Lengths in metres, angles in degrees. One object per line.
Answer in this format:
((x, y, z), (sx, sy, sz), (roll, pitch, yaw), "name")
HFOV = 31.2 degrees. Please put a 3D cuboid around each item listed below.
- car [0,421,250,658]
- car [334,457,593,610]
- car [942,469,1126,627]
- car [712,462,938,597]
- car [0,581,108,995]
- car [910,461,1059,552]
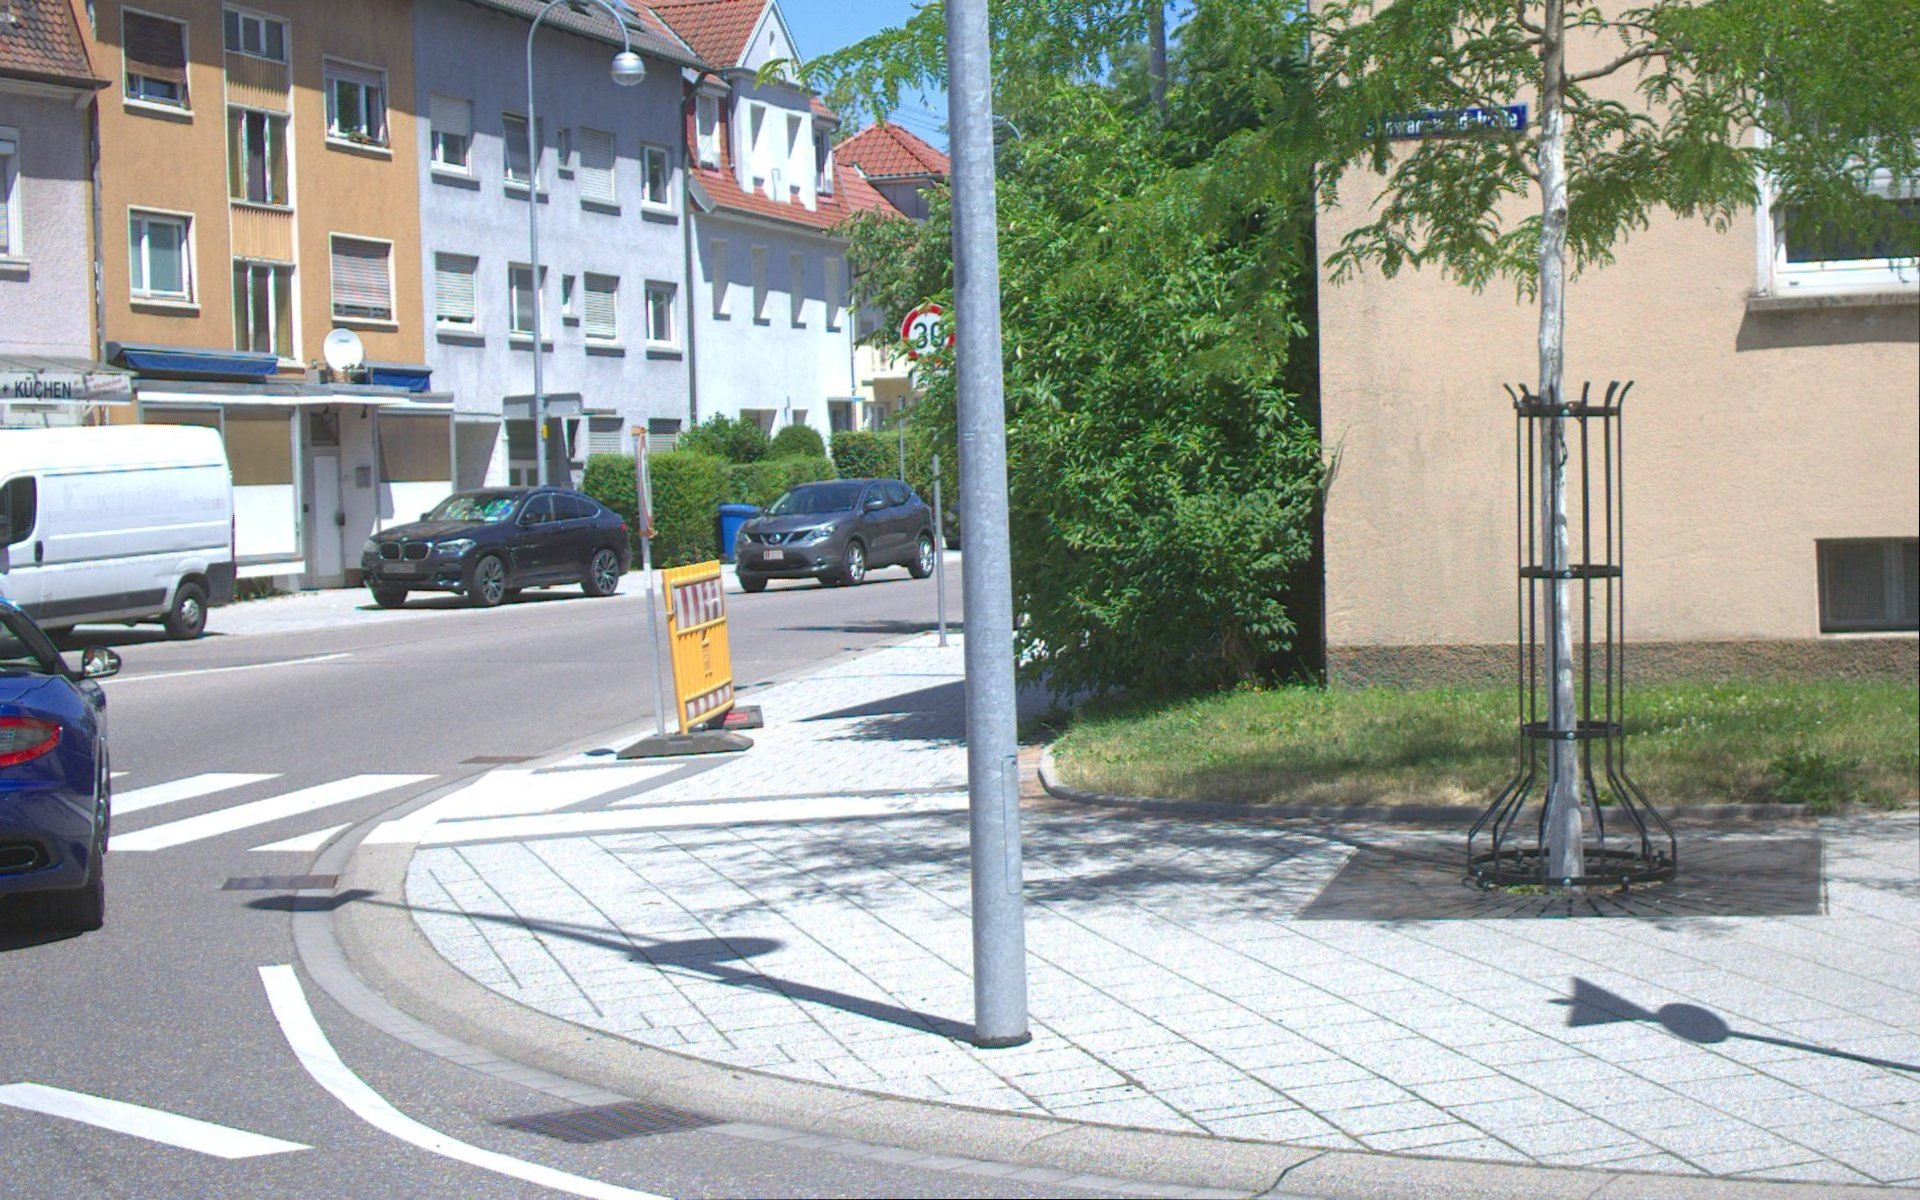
((-10.612, -0.735, 38.707), (2.147, 2.524, 6.232), (1, 3, 20), "car")
((-6.968, -0.971, 48.668), (2.069, 2.006, 3.997), (-2, 2, 17), "car")
((0.897, -0.635, 39.568), (1.879, 1.625, 3.591), (-1, 3, 5), "car")
((-1.956, -1.079, 51.252), (1.995, 1.808, 4.210), (-3, 1, 17), "car")
((-4.666, 0.752, 14.837), (1.870, 1.525, 4.508), (-2, 0, -14), "car")
((0.521, -1.864, 68.066), (1.843, 1.700, 3.800), (-2, 2, 18), "car")
